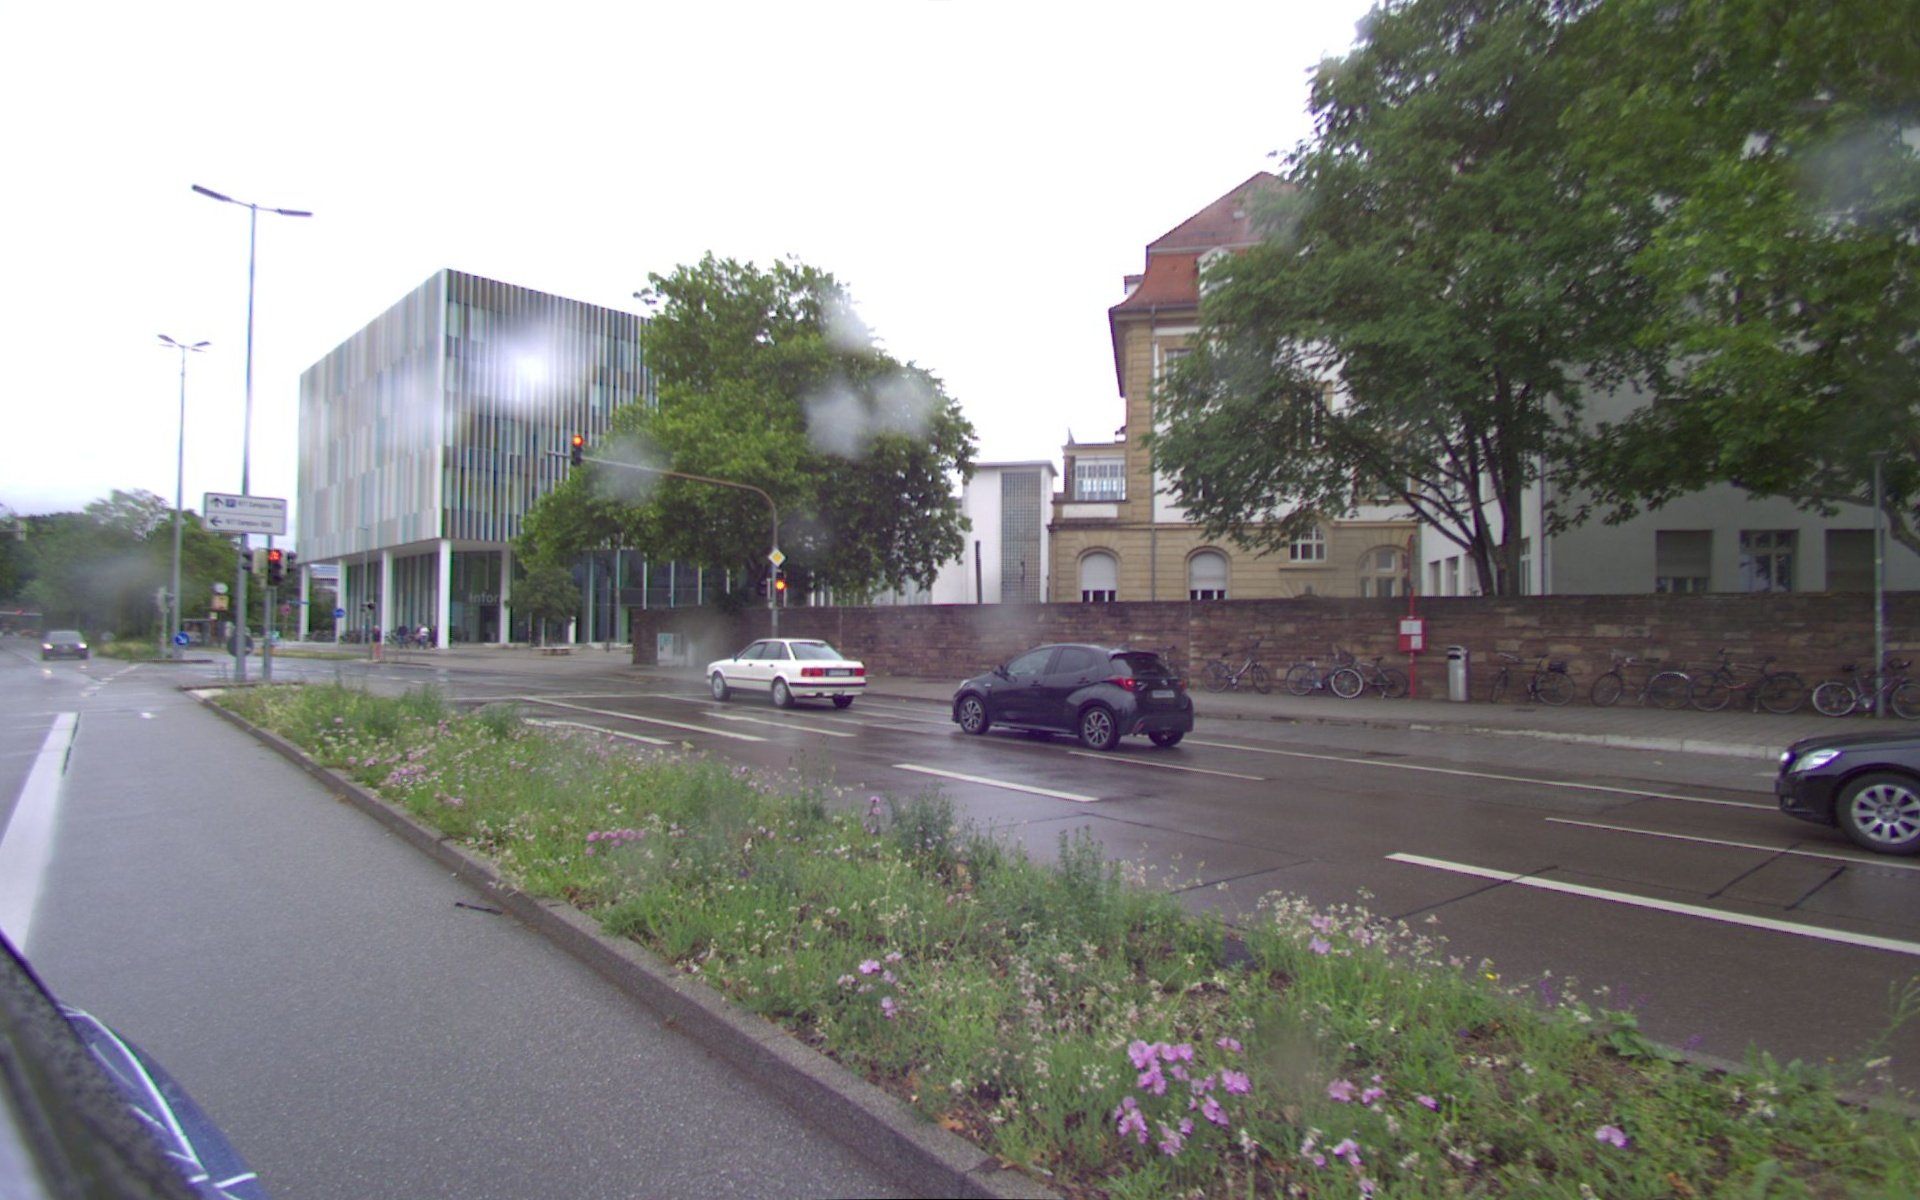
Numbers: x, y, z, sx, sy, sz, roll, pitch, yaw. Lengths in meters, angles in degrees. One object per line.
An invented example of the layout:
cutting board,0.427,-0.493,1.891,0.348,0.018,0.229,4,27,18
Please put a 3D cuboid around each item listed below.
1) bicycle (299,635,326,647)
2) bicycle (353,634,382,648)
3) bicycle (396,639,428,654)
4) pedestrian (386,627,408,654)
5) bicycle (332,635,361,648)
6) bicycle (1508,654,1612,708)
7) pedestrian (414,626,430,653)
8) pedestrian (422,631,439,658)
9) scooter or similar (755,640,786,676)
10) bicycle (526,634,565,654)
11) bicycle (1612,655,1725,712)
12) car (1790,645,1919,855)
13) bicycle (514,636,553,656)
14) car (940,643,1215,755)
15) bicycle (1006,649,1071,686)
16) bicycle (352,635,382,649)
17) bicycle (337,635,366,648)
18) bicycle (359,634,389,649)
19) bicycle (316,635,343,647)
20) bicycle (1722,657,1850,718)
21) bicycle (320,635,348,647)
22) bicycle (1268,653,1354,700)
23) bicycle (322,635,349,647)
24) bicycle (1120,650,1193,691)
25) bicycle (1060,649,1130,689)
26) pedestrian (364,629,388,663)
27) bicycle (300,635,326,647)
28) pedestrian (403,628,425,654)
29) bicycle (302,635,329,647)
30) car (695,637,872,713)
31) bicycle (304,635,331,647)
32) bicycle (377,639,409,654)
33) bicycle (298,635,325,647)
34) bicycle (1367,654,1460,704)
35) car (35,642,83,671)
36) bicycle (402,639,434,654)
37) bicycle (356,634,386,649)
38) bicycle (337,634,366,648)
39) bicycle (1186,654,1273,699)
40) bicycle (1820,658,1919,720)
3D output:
bicycle,-66.129,4.160,103.382,2.247,1.231,0.600,2,-3,-33
bicycle,-52.996,3.707,90.531,2.247,1.231,0.600,2,-3,-33
bicycle,-45.007,3.789,83.071,0.597,1.231,2.258,-2,-3,35
pedestrian,-39.368,2.845,70.816,0.916,1.838,0.934,-1,-2,18
bicycle,-57.194,3.858,94.342,2.247,1.231,0.600,2,-3,-33
bicycle,11.854,1.584,20.018,1.698,0.990,0.724,-1,-2,37
pedestrian,-37.299,2.751,70.158,0.621,1.838,0.780,-1,-3,24
pedestrian,-36.032,3.010,68.880,0.621,1.838,0.780,-1,-3,24
scooter or similar,-6.690,2.025,35.771,1.142,1.206,0.386,-2,4,43
bicycle,-26.127,2.796,63.840,0.597,1.231,2.258,-2,-3,35
bicycle,13.297,1.550,19.030,1.698,0.990,0.724,-1,-2,37
car,8.875,1.122,6.914,1.786,1.552,4.710,4,-4,-41
bicycle,-27.087,2.929,64.286,0.597,1.231,2.258,-2,-3,35
car,1.635,1.386,15.213,1.603,1.426,4.072,4,-4,-41
bicycle,2.172,1.868,28.192,1.698,0.990,0.724,-1,-2,37
bicycle,-53.496,3.805,91.313,2.247,1.231,0.600,2,-3,-33
bicycle,-55.968,3.795,93.072,2.247,1.231,0.600,2,-3,-33
bicycle,-51.525,3.653,88.998,2.247,1.231,0.600,2,-3,-33
bicycle,-62.339,4.044,100.048,2.247,1.231,0.600,2,-3,-33
bicycle,14.641,1.530,18.004,1.698,0.990,0.724,-1,-2,37
bicycle,-60.978,3.993,98.607,2.247,1.231,0.600,2,-3,-33
bicycle,7.979,1.723,23.047,1.698,0.990,0.724,-1,-2,37
bicycle,-61.228,4.016,99.245,2.247,1.231,0.600,2,-3,-33
bicycle,4.996,1.783,25.756,1.698,0.990,0.724,-1,-2,37
bicycle,3.545,1.815,26.701,1.698,0.990,0.724,-1,-2,37
pedestrian,-31.876,2.490,55.235,0.791,1.838,0.780,-1,-3,25
bicycle,-65.338,4.118,102.217,2.247,1.231,0.600,2,-3,-33
pedestrian,-38.407,2.862,71.197,0.918,1.838,0.932,-1,-3,25
bicycle,-64.599,4.088,101.385,2.247,1.231,0.600,2,-3,-33
car,-3.857,1.537,21.548,1.576,1.426,4.530,4,-4,-41
bicycle,-63.972,4.066,100.760,2.247,1.231,0.600,2,-3,-33
bicycle,-47.274,3.832,84.381,0.597,1.231,2.258,-2,-3,35
bicycle,-67.049,4.206,104.647,2.247,1.231,0.600,2,-3,-33
bicycle,9.784,1.690,21.850,1.698,0.990,0.724,-1,-2,37
car,-45.917,2.848,51.556,1.637,1.375,4.110,2,-3,-44
bicycle,-44.352,3.782,82.840,0.597,1.231,2.258,-2,-3,35
bicycle,-52.238,3.682,89.821,2.247,1.231,0.600,2,-3,-33
bicycle,-55.506,3.770,92.373,2.247,1.231,0.600,2,-3,-33
bicycle,6.395,1.807,24.075,1.864,0.990,0.723,-2,-2,41
bicycle,15.738,1.501,17.145,1.698,0.990,0.724,-1,-2,37
